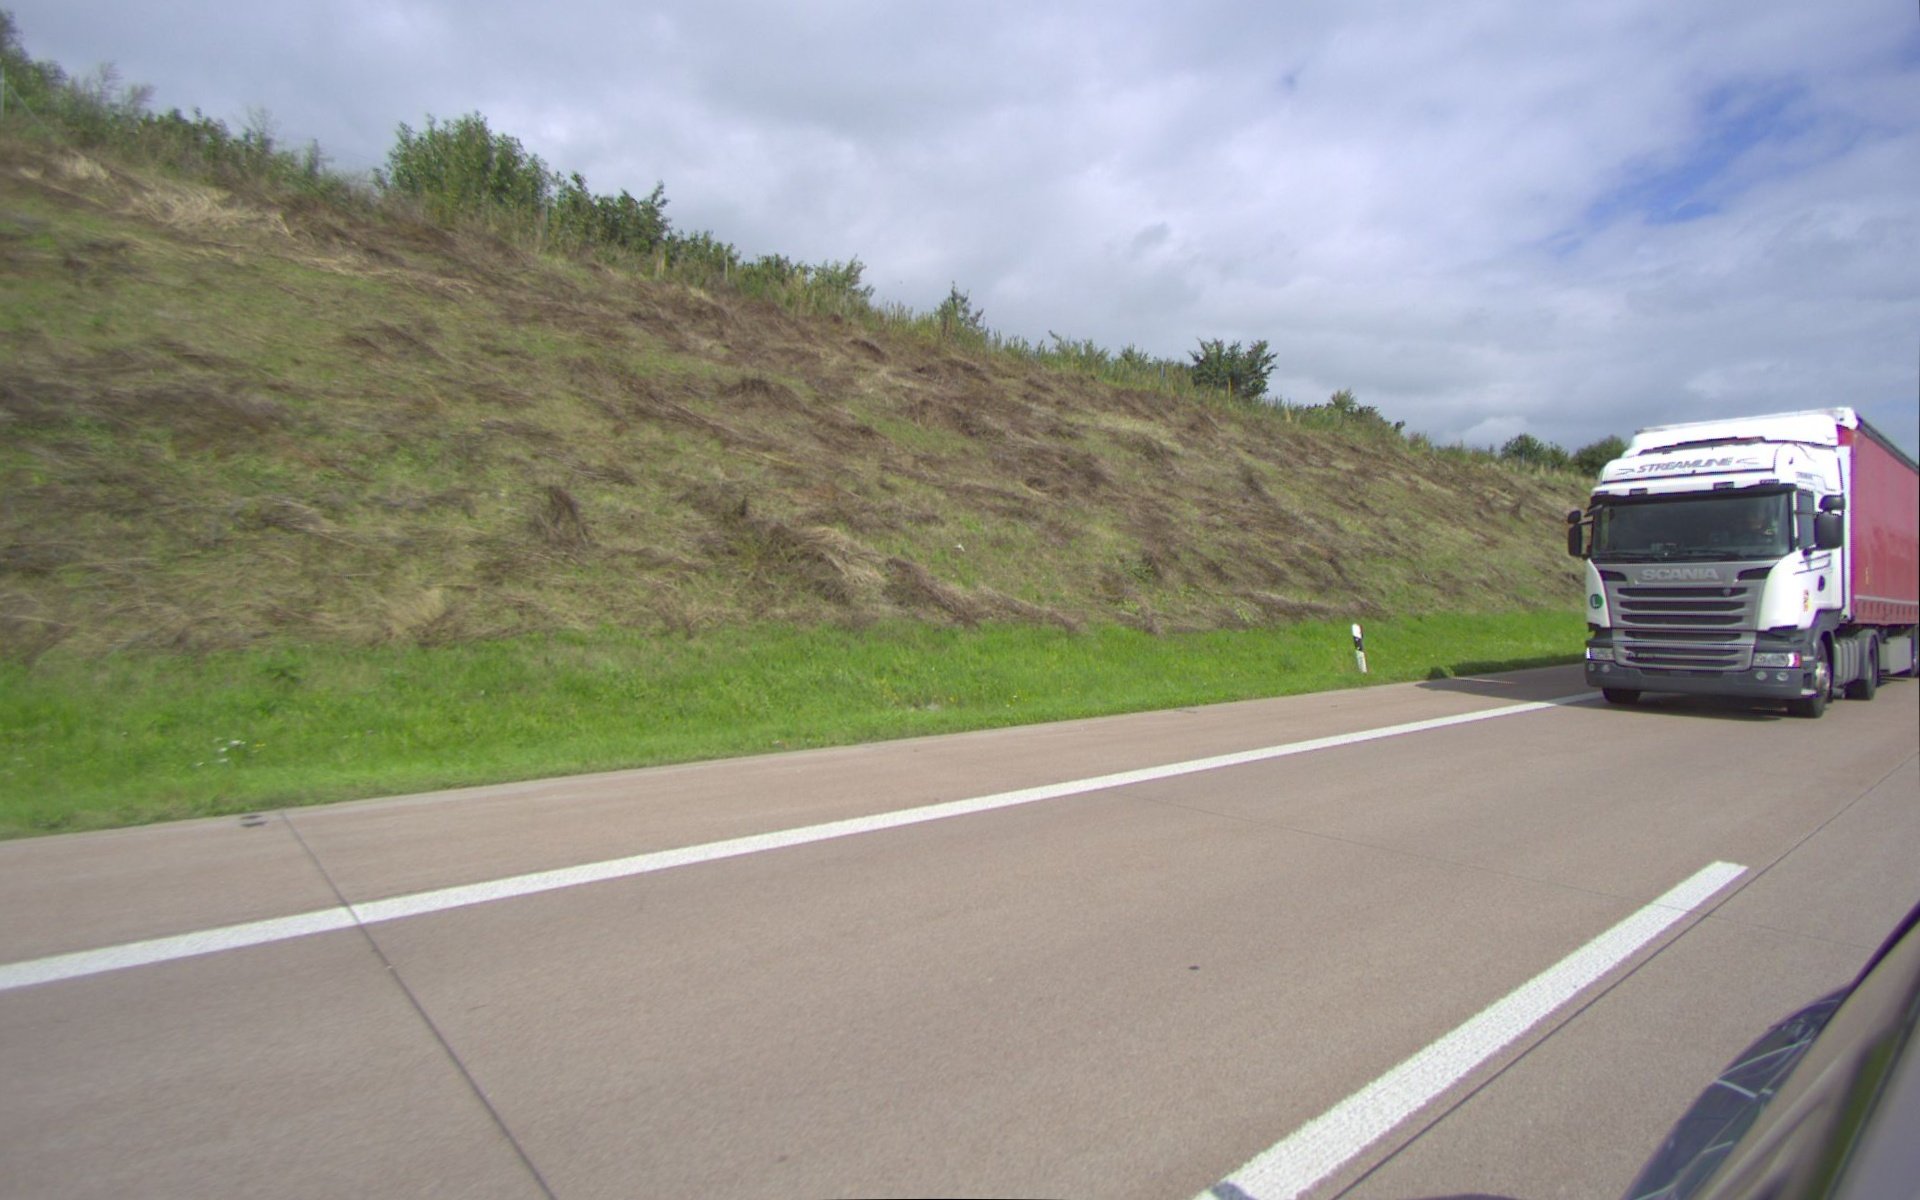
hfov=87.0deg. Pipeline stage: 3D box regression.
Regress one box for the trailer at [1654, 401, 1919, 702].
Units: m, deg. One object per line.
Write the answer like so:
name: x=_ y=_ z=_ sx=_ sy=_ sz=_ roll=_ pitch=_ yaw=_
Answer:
trailer: x=16.568 y=-0.705 z=19.069 sx=12.565 sy=4.145 sz=2.677 roll=0 pitch=1 yaw=-41

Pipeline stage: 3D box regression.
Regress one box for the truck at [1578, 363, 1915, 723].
truck: x=11.724 y=-0.689 z=14.843 sx=6.500 sy=4.157 sz=2.679 roll=0 pitch=1 yaw=-41
